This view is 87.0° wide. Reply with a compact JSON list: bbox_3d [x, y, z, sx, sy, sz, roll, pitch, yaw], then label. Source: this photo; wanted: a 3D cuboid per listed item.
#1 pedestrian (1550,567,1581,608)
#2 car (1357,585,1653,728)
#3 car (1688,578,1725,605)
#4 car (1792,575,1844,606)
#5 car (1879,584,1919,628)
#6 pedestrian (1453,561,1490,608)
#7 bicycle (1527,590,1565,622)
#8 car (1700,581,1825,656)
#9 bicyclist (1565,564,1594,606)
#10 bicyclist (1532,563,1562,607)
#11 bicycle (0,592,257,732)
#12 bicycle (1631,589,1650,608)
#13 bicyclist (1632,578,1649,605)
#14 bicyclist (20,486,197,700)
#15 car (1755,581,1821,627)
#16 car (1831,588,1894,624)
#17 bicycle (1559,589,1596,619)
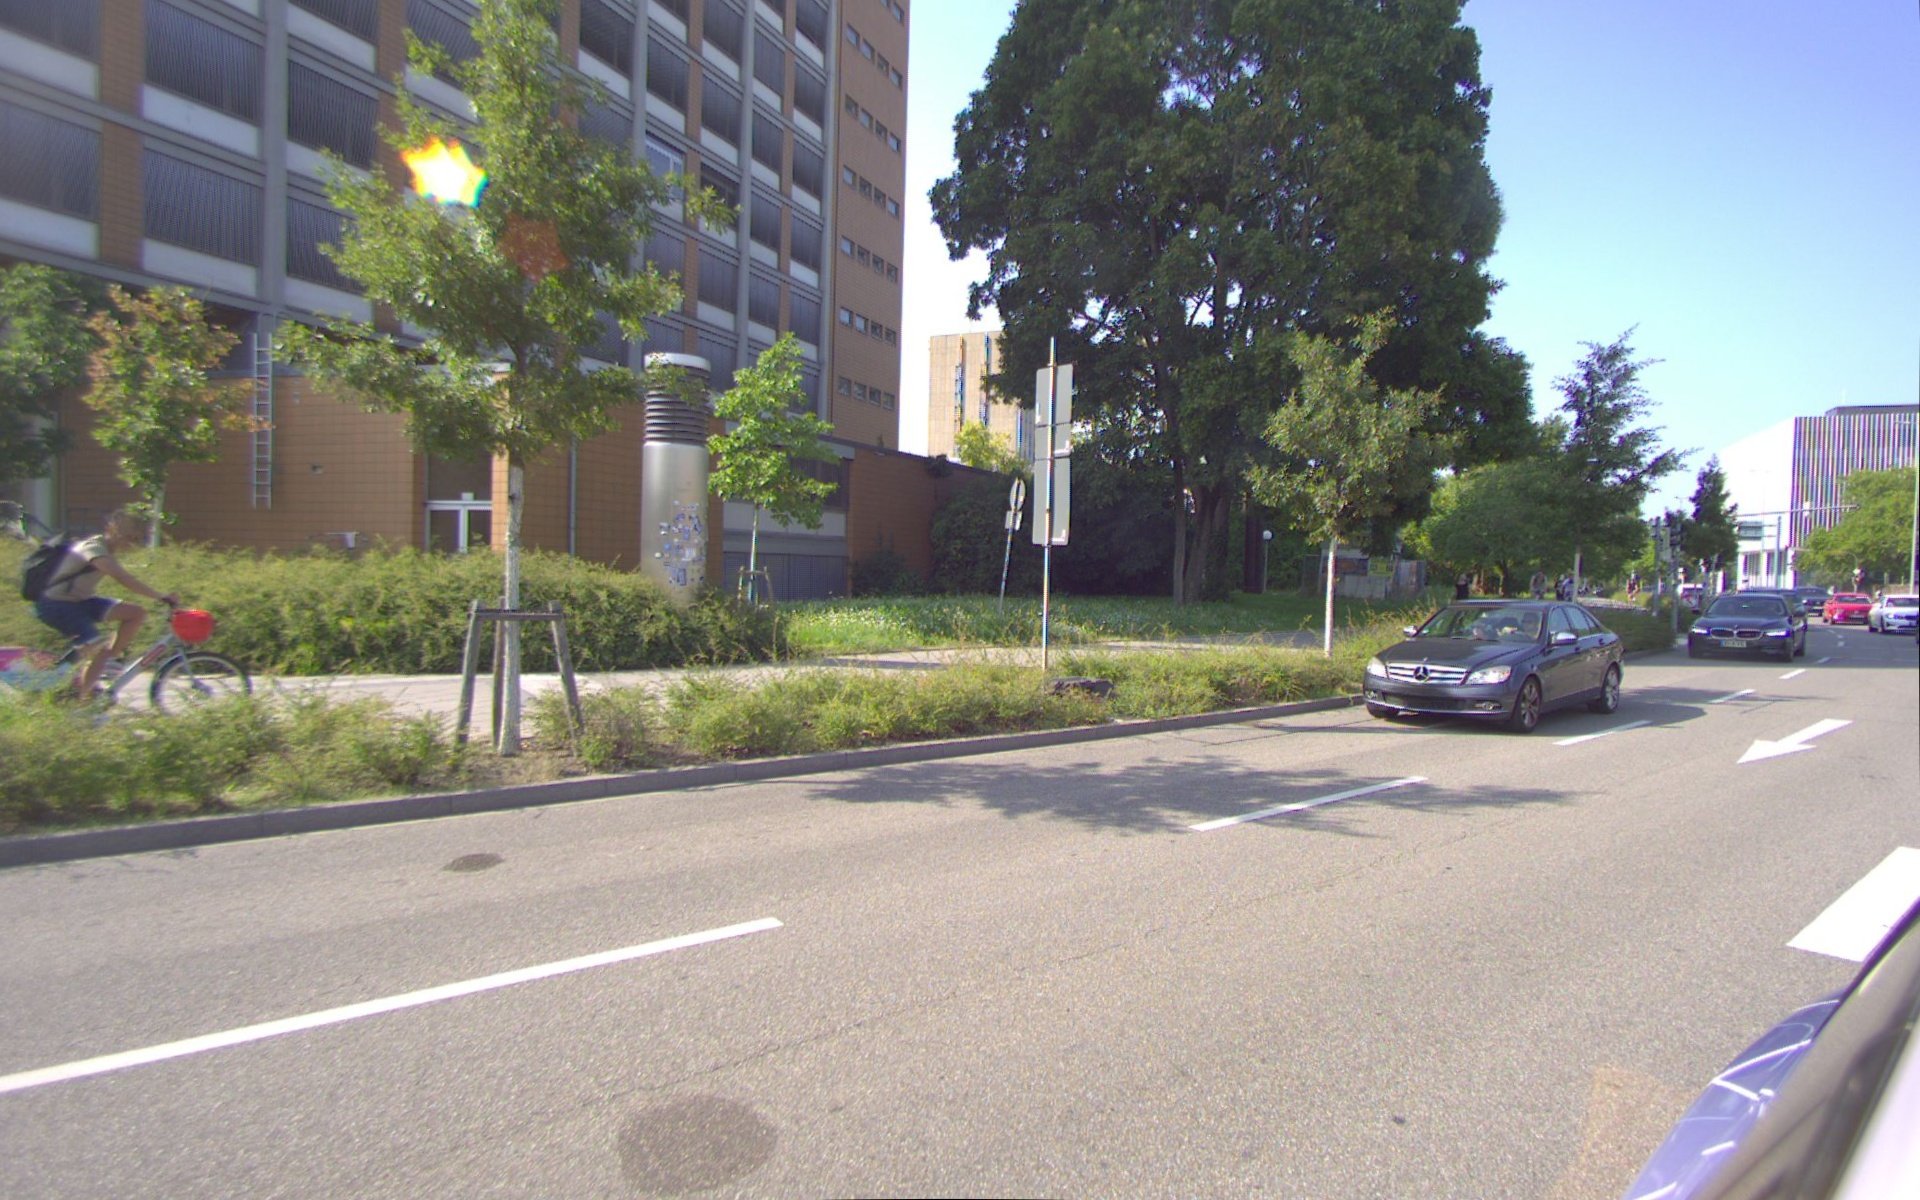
[{"bbox_3d":[27.550,-0.588,46.071,0.957,1.804,0.988,5,3,40],"label":"pedestrian"},{"bbox_3d":[6.777,0.570,12.390,4.294,1.461,1.686,0,1,-39],"label":"car"},{"bbox_3d":[57.757,-0.671,78.364,1.674,1.965,4.327,2,2,29],"label":"car"},{"bbox_3d":[49.663,-0.516,58.672,1.771,1.714,4.477,-1,-1,34],"label":"car"},{"bbox_3d":[34.703,0.209,36.518,1.773,1.501,4.474,2,2,36],"label":"car"},{"bbox_3d":[16.225,-0.503,32.083,0.842,1.461,0.726,0,2,-39],"label":"pedestrian"},{"bbox_3d":[21.888,0.215,37.777,0.771,1.131,2.268,2,2,42],"label":"bicycle"},{"bbox_3d":[18.617,0.369,23.397,4.596,1.510,1.684,0,3,-45],"label":"car"},{"bbox_3d":[24.300,-0.586,39.716,0.771,1.612,0.910,3,2,43],"label":"bicyclist"},{"bbox_3d":[21.918,-0.577,37.780,0.771,1.612,0.910,2,2,42],"label":"bicyclist"},{"bbox_3d":[-6.575,0.434,7.805,1.885,0.971,0.722,0,2,-36],"label":"bicycle"},{"bbox_3d":[42.264,-0.086,62.855,0.767,1.131,2.280,2,2,29],"label":"bicycle"},{"bbox_3d":[42.315,-0.534,62.937,0.767,1.697,0.915,2,1,29],"label":"bicyclist"},{"bbox_3d":[-6.525,-0.067,7.815,0.985,1.531,0.722,0,2,-36],"label":"bicyclist"},{"bbox_3d":[32.714,0.091,40.094,1.774,1.625,4.363,3,3,37],"label":"car"},{"bbox_3d":[41.915,0.255,47.085,1.678,1.510,4.316,3,2,36],"label":"car"},{"bbox_3d":[24.216,0.145,39.665,0.771,1.131,2.268,3,2,42],"label":"bicycle"}]
